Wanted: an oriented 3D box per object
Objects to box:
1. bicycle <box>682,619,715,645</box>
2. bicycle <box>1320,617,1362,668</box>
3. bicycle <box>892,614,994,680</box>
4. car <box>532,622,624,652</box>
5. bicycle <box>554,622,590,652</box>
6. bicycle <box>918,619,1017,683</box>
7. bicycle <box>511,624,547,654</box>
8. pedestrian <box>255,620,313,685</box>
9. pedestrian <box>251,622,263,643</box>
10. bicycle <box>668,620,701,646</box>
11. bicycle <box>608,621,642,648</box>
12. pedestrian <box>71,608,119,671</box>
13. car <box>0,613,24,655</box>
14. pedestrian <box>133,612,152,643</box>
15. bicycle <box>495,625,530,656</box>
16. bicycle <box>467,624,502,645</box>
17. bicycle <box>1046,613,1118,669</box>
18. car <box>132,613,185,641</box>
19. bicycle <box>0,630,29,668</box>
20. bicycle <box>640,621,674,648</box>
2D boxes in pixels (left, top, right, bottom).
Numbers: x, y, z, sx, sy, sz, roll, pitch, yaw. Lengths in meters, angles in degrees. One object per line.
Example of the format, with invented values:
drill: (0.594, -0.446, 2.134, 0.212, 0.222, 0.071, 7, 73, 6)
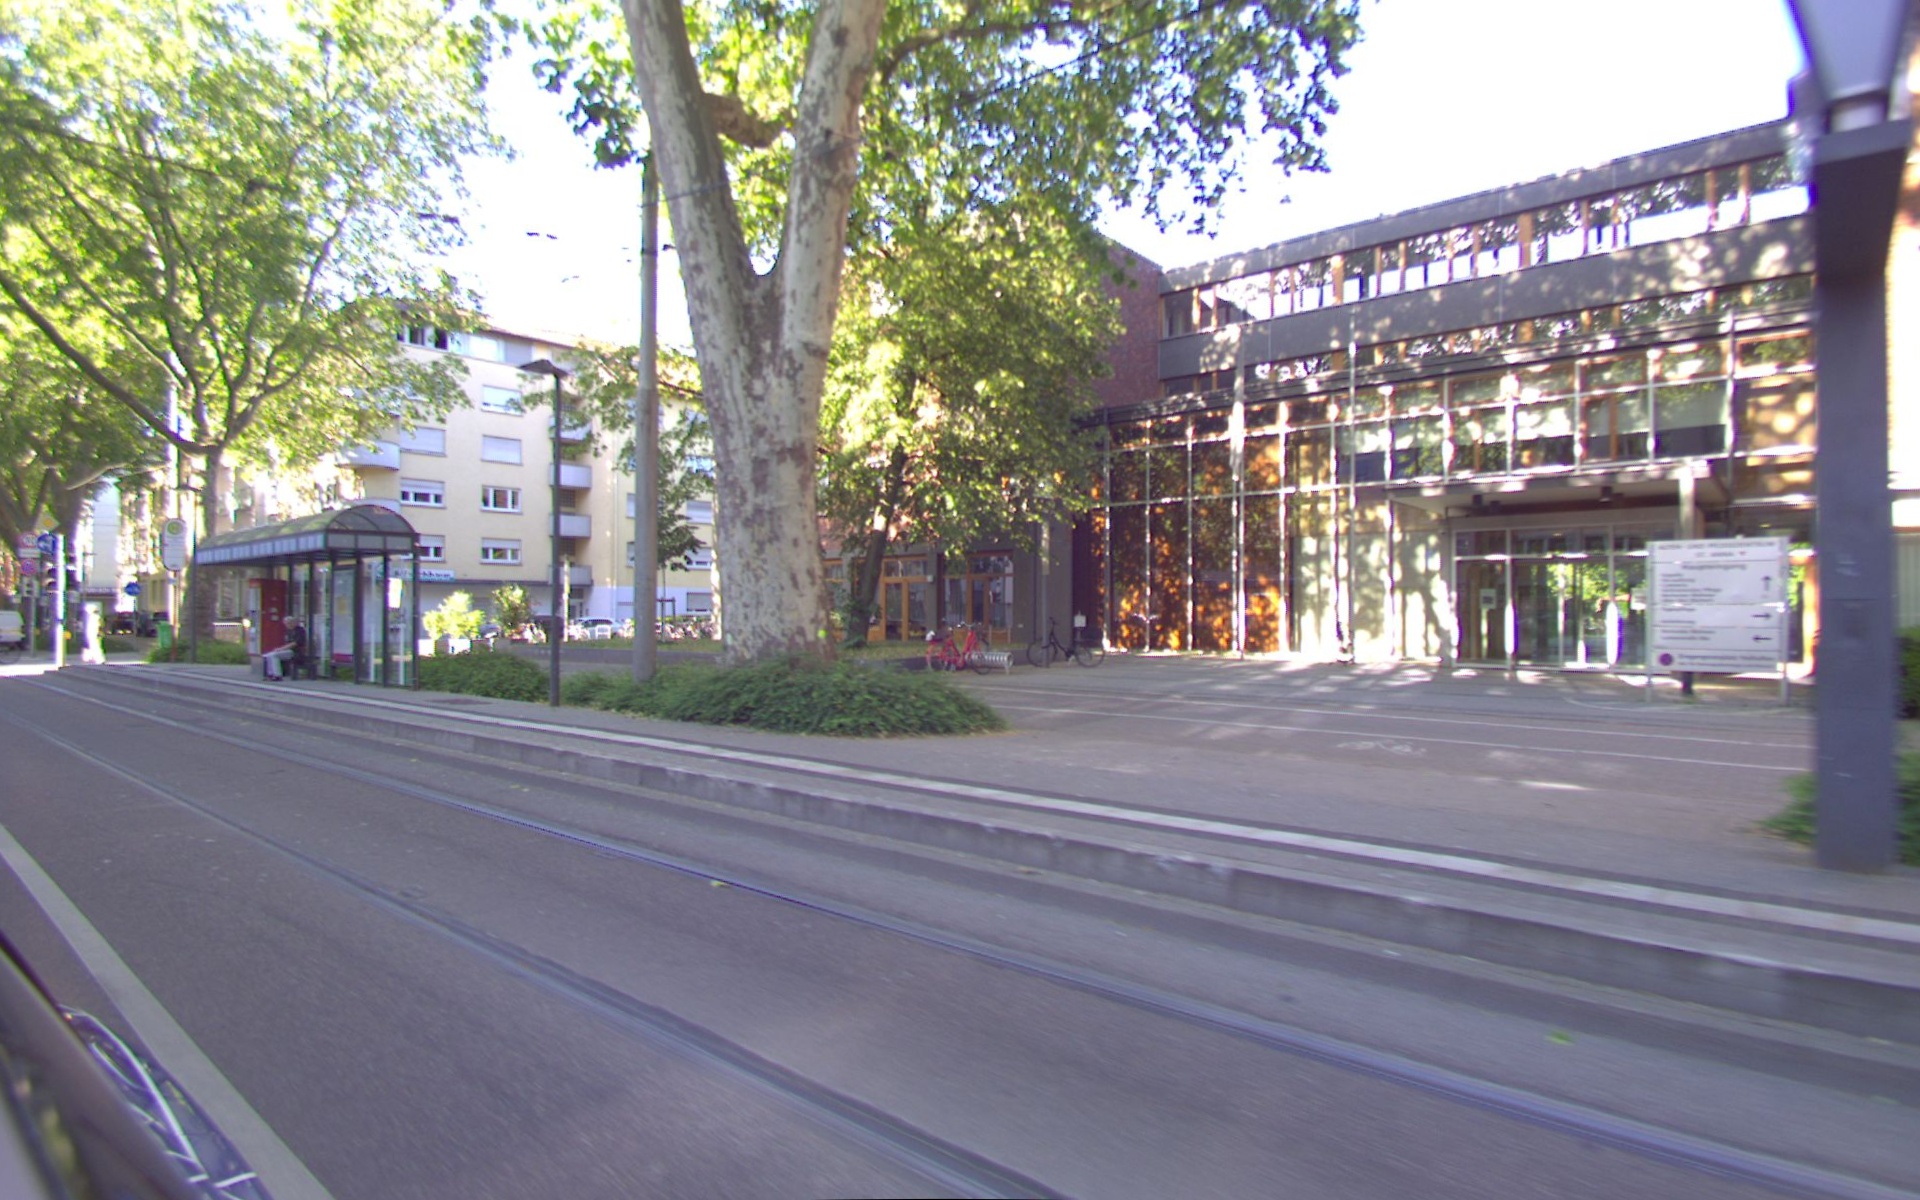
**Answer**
bicycle: (-11.361, 1.387, 43.898, 1.637, 1.092, 0.536, -1, 0, 40)
bicycle: (8.728, 0.940, 23.158, 0.760, 1.081, 1.930, -1, 0, 24)
bicycle: (-0.322, 0.961, 21.359, 0.682, 1.228, 2.432, -1, 1, 41)
car: (-19.481, 1.841, 51.764, 1.998, 1.386, 3.947, -1, 0, 40)
bicycle: (-15.175, 1.454, 39.577, 1.637, 1.092, 0.536, -3, -2, 40)
bicycle: (0.183, 1.017, 20.773, 0.682, 1.175, 2.316, -1, 0, 41)
bicycle: (-16.371, 1.492, 38.396, 1.637, 1.092, 0.536, -4, -2, 40)
pedestrian: (-12.598, 0.970, 18.852, 0.658, 1.177, 0.698, -1, -2, 38)
pedestrian: (-39.018, 1.800, 56.141, 0.436, 1.114, 0.417, -1, 0, 31)
bicycle: (-11.788, 1.408, 43.318, 1.637, 1.092, 0.536, -1, 0, 40)
bicycle: (-13.697, 1.422, 41.337, 1.637, 1.092, 0.536, -2, -2, 40)
pedestrian: (-25.983, 1.156, 30.392, 0.918, 1.849, 0.915, -1, 0, 37)
car: (-44.089, 1.525, 45.950, 4.314, 1.864, 1.746, -1, 0, 39)
pedestrian: (-50.701, 1.713, 62.773, 0.863, 1.883, 0.737, -1, 0, 39)
bicycle: (-16.768, 1.506, 37.919, 1.535, 1.092, 0.536, -4, -3, 40)
bicycle: (-25.172, 1.810, 53.611, 0.543, 1.092, 1.616, -2, -2, 41)
bicycle: (2.762, 0.926, 22.968, 1.477, 1.228, 0.683, 0, 0, -7)
car: (-53.400, 1.754, 67.398, 4.896, 1.746, 1.973, -1, 0, 41)
bicycle: (-31.468, 1.573, 32.215, 2.551, 1.200, 0.787, 0, 0, -27)
bicycle: (-12.668, 1.415, 42.324, 1.637, 1.092, 0.536, -1, 0, 40)
